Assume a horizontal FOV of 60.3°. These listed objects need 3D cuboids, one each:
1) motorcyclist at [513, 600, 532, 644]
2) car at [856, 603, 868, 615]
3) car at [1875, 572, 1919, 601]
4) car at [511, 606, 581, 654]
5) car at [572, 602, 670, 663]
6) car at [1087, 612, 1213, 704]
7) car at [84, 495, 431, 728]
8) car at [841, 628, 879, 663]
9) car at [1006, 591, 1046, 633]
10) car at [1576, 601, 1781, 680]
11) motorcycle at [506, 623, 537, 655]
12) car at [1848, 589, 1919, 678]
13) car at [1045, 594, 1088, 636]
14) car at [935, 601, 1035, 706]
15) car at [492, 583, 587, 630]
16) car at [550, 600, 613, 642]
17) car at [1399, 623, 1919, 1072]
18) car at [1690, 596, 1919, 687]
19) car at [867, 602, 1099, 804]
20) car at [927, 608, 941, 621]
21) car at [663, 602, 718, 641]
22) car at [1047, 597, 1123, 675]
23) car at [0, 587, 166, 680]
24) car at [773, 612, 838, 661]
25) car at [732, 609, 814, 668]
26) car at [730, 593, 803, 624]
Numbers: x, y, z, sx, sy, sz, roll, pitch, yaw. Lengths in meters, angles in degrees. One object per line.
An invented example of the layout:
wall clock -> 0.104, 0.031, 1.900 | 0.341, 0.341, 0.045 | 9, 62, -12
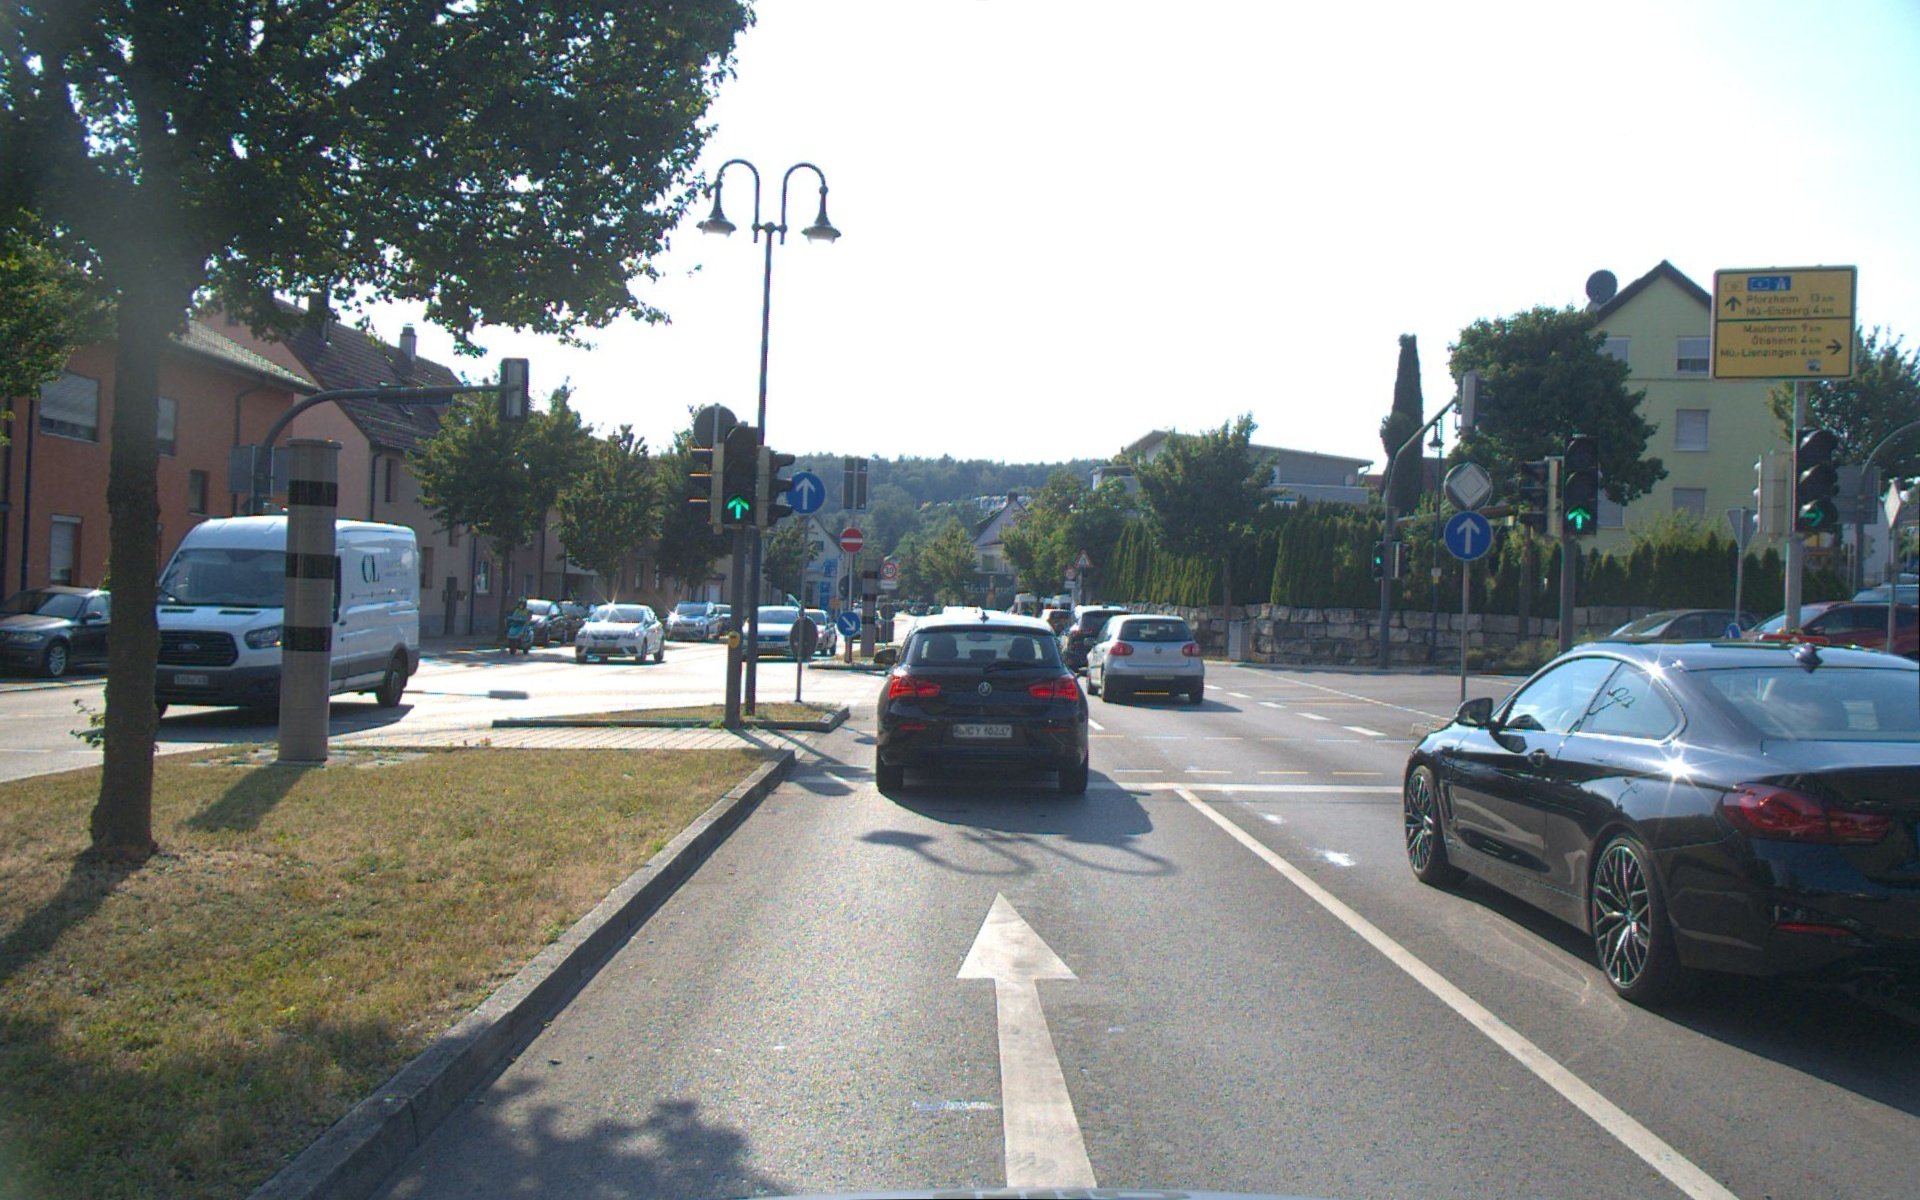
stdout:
motorcyclist -> -12.615, 0.633, 47.740 | 0.395, 1.250, 0.462 | 1, 0, 1
car -> -13.132, 1.241, 221.535 | 1.565, 1.511, 3.472 | 2, 0, -3
car -> 48.057, -0.683, 84.801 | 1.779, 1.368, 3.989 | 1, 0, 33
car -> -14.398, 1.007, 57.667 | 1.481, 1.537, 3.884 | 3, 0, -1
car -> -8.627, 0.801, 42.395 | 1.721, 1.436, 3.999 | 1, 0, -1
car -> 3.247, 0.962, 28.797 | 1.718, 1.439, 3.421 | 1, 0, -1
car -> -8.583, 0.128, 20.882 | 2.042, 2.519, 5.478 | 1, 0, -1
car -> -4.606, 2.092, 76.497 | 1.501, 1.487, 3.506 | 1, 0, 1
car -> 4.495, 0.780, 113.547 | 2.107, 2.727, 6.598 | 1, 0, -4
car -> 15.142, 0.838, 35.013 | 3.705, 1.569, 1.600 | 1, 0, 10
motorcycle -> -12.617, 1.119, 47.600 | 0.404, 0.875, 1.763 | 1, 0, 0
car -> 22.932, 0.770, 38.426 | 5.118, 1.966, 1.976 | 1, 0, -35
car -> 7.284, 0.975, 114.004 | 2.069, 2.769, 6.438 | 1, 0, -4
car -> 0.447, 0.848, 28.244 | 1.559, 1.628, 3.894 | 1, 0, 1
car -> -19.112, 0.285, 75.205 | 3.742, 1.914, 1.779 | 3, -1, 1
car -> -14.508, 0.786, 63.586 | 1.586, 1.537, 4.131 | 1, 0, -2
car -> 3.450, 0.843, 7.549 | 1.665, 1.393, 4.261 | 0, 0, -1
car -> 16.564, 0.790, 31.910 | 4.157, 1.654, 1.860 | 1, 0, -7
car -> 0.149, 0.785, 14.362 | 1.736, 1.482, 3.515 | 1, 0, -1
car -> -3.302, 1.834, 208.428 | 1.565, 1.511, 3.472 | 2, 0, -3
car -> -11.715, 0.911, 72.127 | 1.651, 1.640, 4.412 | 1, 0, -1
car -> 3.017, 0.848, 40.439 | 1.570, 1.798, 3.411 | 1, 0, 0
car -> -15.264, 0.523, 27.928 | 1.759, 1.439, 3.941 | 1, 0, 1
car -> -4.830, 1.116, 52.020 | 1.556, 1.452, 3.579 | -1, -1, 2
car -> -5.173, 1.031, 46.194 | 1.798, 1.514, 4.565 | 1, 0, -1
car -> -16.748, 0.739, 143.318 | 6.035, 2.487, 2.248 | 2, 0, -2
